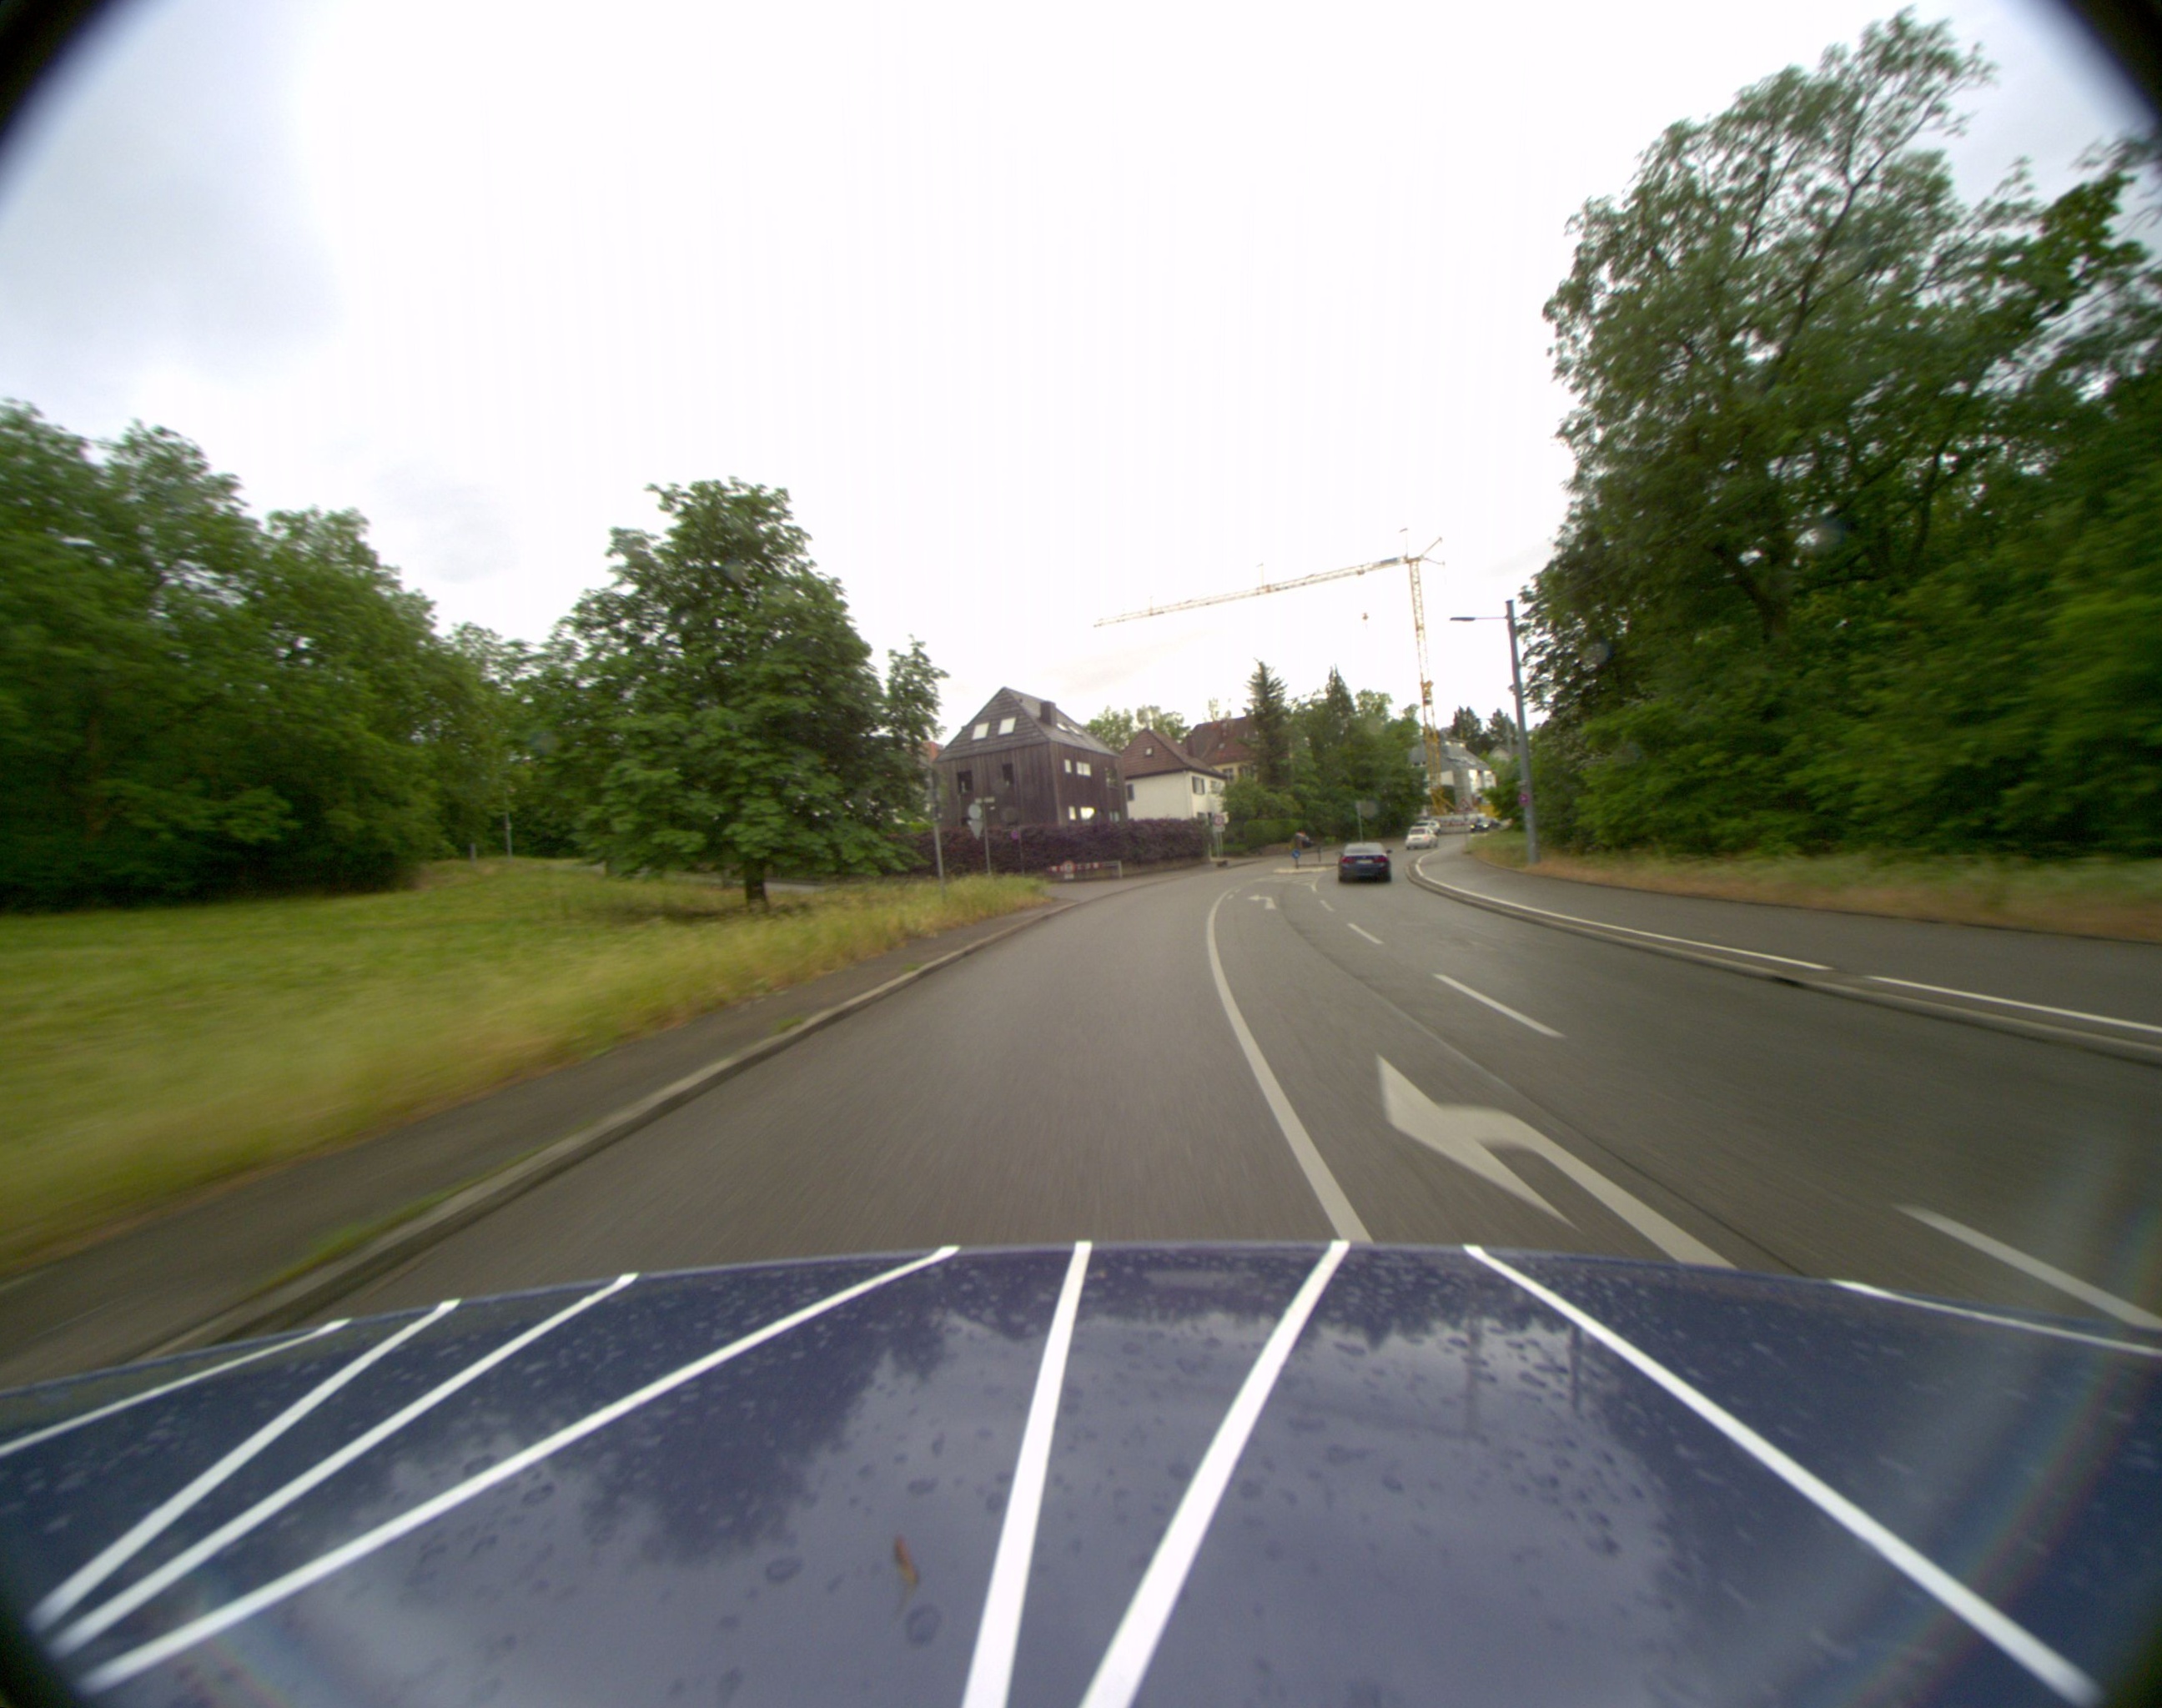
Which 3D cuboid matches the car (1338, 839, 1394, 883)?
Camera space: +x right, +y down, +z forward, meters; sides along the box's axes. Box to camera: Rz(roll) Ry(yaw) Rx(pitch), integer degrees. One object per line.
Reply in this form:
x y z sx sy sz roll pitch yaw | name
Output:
11.007 0.222 29.394 1.848 1.492 4.637 -1 2 20 | car

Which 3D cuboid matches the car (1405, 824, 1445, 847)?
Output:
25.002 -1.357 55.157 1.567 1.469 3.673 -1 3 42 | car

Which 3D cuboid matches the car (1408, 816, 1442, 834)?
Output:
33.752 -2.867 74.445 1.827 1.587 4.006 0 4 42 | car

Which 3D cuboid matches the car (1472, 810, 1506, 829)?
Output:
41.568 -3.528 77.341 1.994 1.707 4.007 -1 3 45 | car

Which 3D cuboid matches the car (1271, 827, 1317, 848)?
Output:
18.959 -1.443 67.633 3.480 1.404 1.430 -7 0 35 | car
